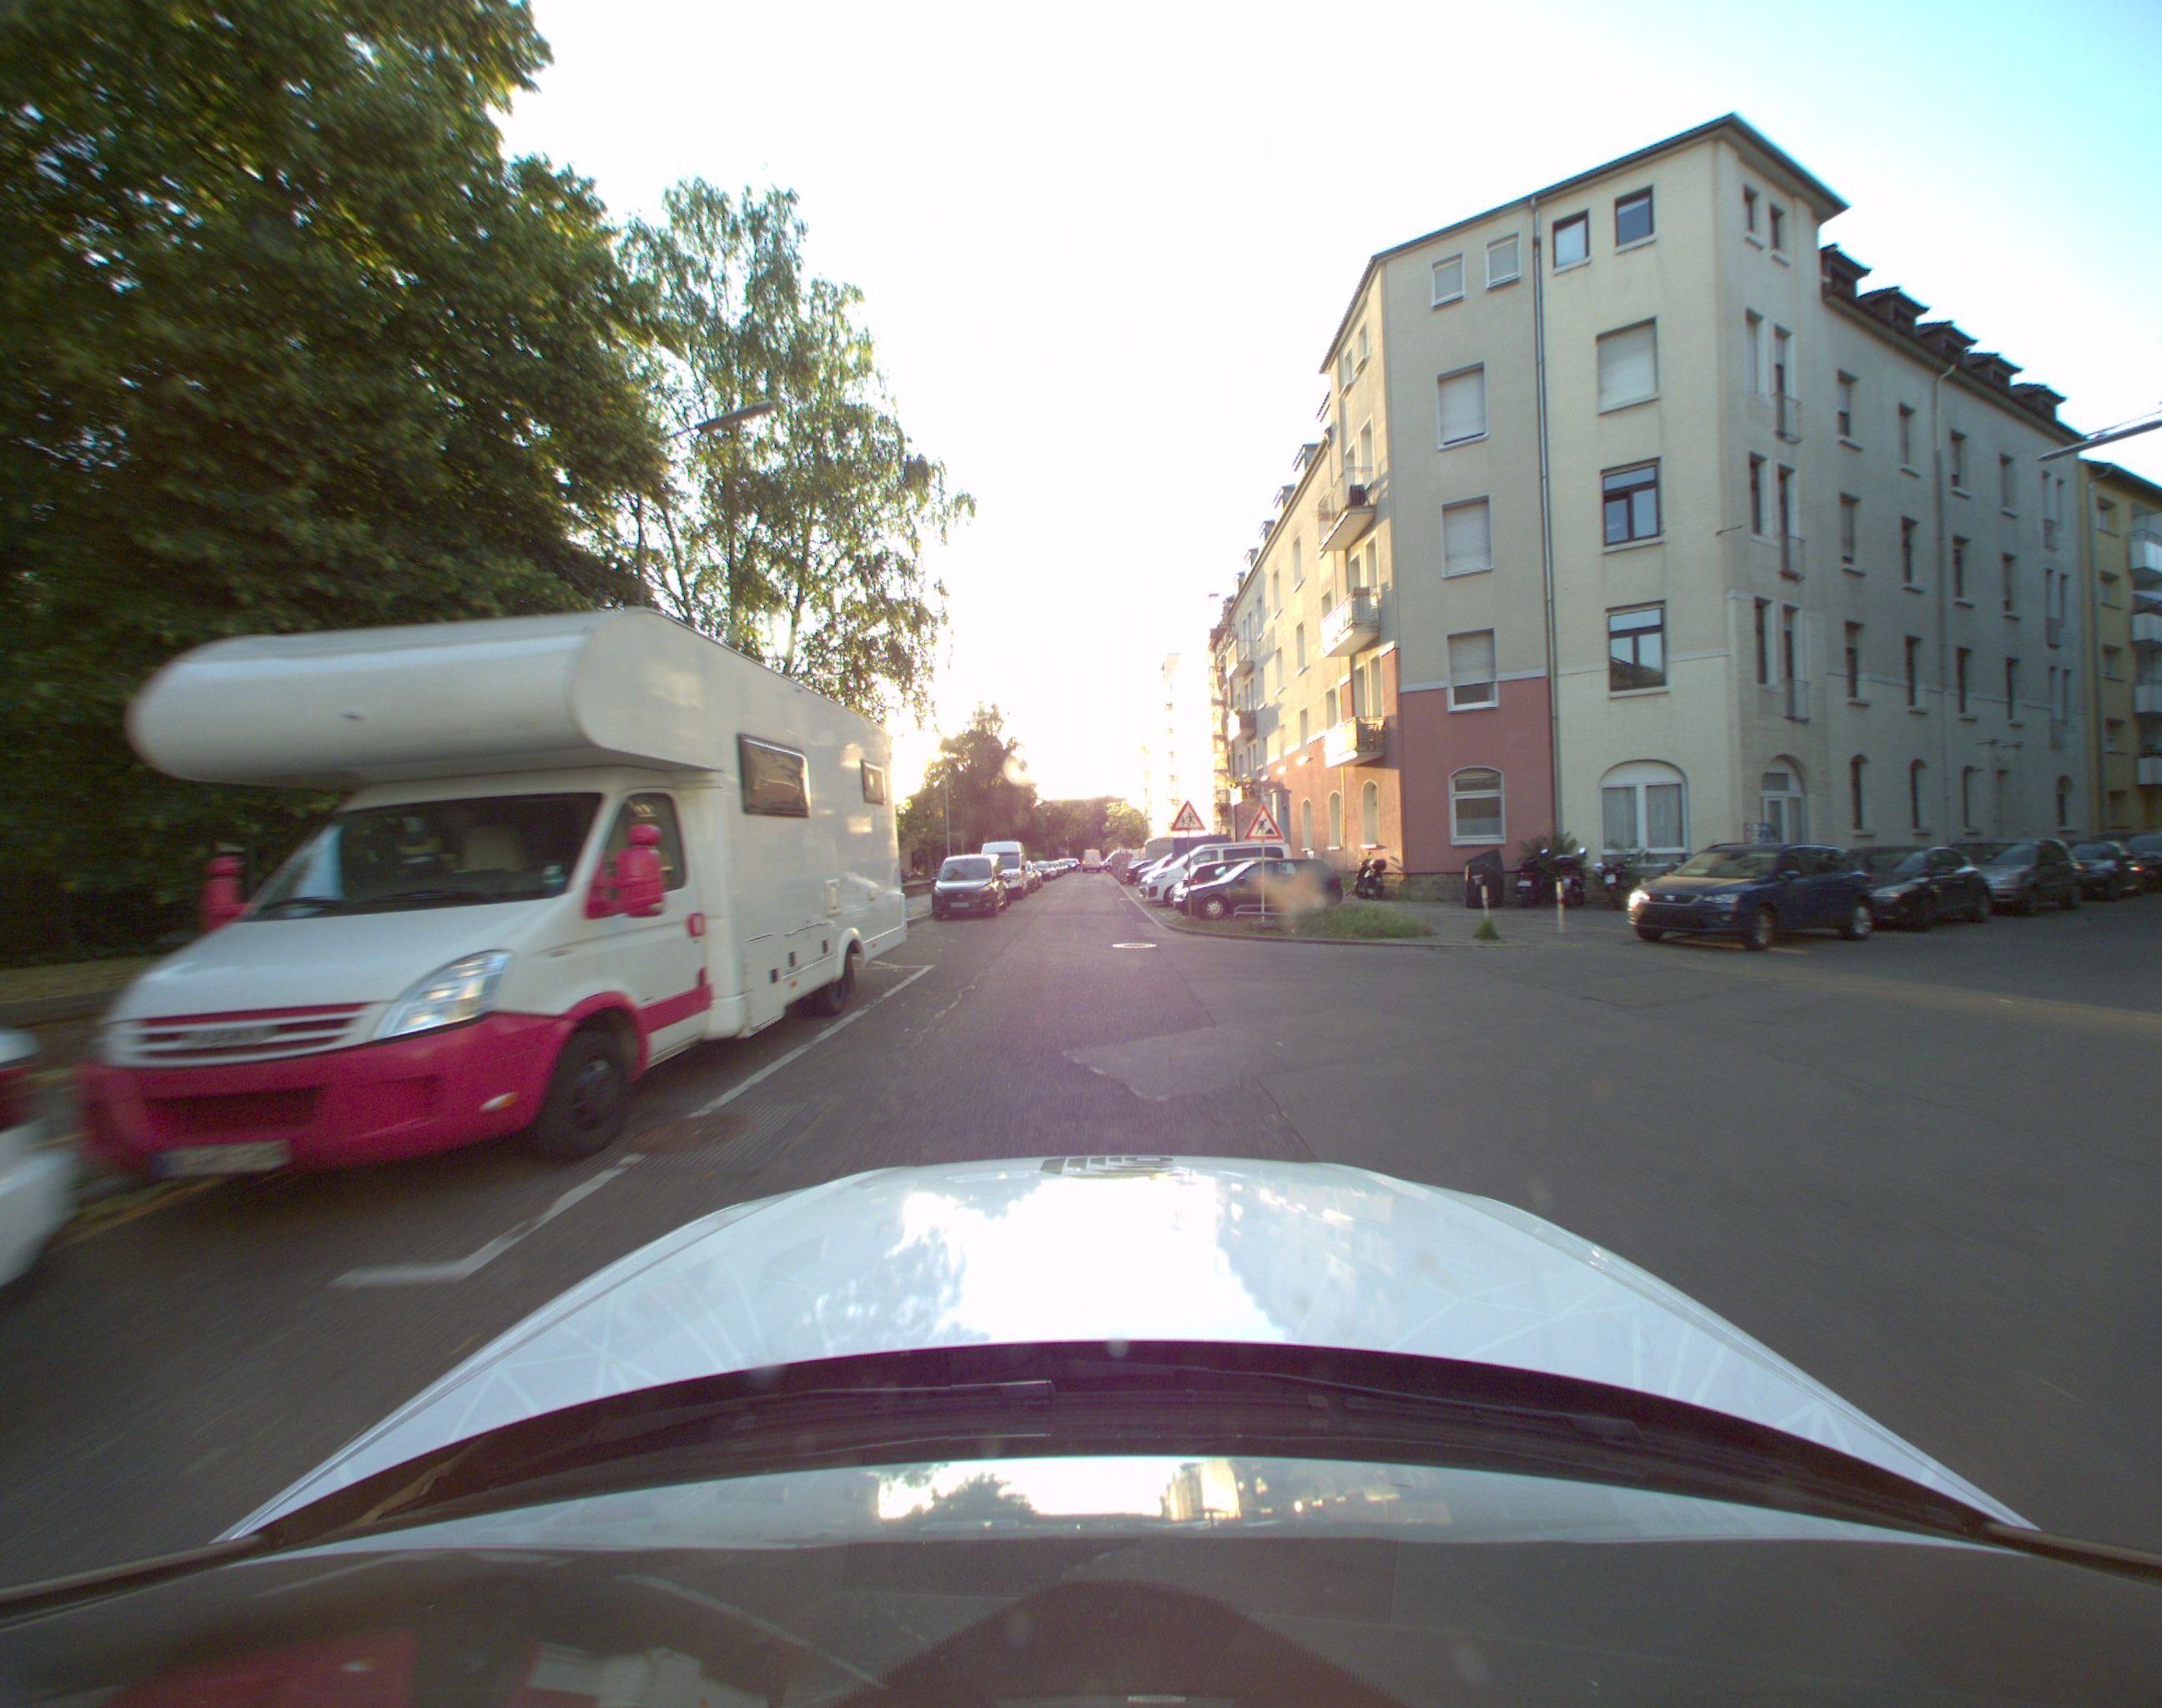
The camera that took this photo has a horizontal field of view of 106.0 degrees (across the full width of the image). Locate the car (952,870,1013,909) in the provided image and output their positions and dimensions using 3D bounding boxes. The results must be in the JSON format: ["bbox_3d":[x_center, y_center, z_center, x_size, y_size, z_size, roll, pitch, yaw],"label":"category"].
[{"bbox_3d":[-3.465,1.223,29.373,1.990,1.189,4.030,-1,0,-5],"label":"car"}]

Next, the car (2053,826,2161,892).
[{"bbox_3d":[28.379,0.093,21.914,4.009,1.651,1.982,-1,-1,-27],"label":"car"}]

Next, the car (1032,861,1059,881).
[{"bbox_3d":[-2.758,1.319,64.345,1.776,1.445,4.748,-4,0,0],"label":"car"}]

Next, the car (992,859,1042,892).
[{"bbox_3d":[-3.150,1.034,40.979,1.986,1.519,4.790,-1,0,1],"label":"car"}]

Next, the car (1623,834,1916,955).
[{"bbox_3d":[10.627,0.532,12.584,4.004,1.573,1.816,-1,0,-23],"label":"car"}]

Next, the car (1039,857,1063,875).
[{"bbox_3d":[-2.679,1.052,73.299,1.854,1.538,4.758,-3,0,0],"label":"car"}]

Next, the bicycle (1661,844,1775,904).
[{"bbox_3d":[14.198,0.453,18.223,1.881,1.281,0.689,-1,0,26],"label":"bicycle"}]

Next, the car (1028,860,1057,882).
[{"bbox_3d":[-2.758,1.199,59.078,1.988,1.453,3.996,-1,0,-2],"label":"car"}]

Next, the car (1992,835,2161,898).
[{"bbox_3d":[24.330,0.258,19.721,4.009,1.354,2.077,-1,0,-27],"label":"car"}]

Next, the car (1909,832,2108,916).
[{"bbox_3d":[19.209,0.353,16.851,4.012,1.505,1.954,-1,0,-30],"label":"car"}]

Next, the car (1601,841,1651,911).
[{"bbox_3d":[12.266,0.450,18.334,0.835,1.456,2.795,-2,0,34],"label":"car"}]

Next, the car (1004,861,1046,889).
[{"bbox_3d":[-3.167,1.154,46.728,1.986,1.453,4.289,-1,0,1],"label":"car"}]

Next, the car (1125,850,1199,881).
[{"bbox_3d":[4.633,0.653,47.222,4.137,1.615,1.872,-1,0,2],"label":"car"}]

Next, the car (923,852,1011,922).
[{"bbox_3d":[-3.289,0.886,24.422,1.904,1.788,4.948,-2,0,-1],"label":"car"}]

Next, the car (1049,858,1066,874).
[{"bbox_3d":[-2.446,1.218,84.345,1.596,1.431,3.802,-4,0,-1],"label":"car"}]

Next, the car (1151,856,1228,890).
[{"bbox_3d":[5.530,0.969,41.856,3.682,1.610,1.744,-1,0,-2],"label":"car"}]

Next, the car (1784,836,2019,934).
[{"bbox_3d":[14.825,0.476,14.698,4.011,1.505,1.952,-1,0,-29],"label":"car"}]

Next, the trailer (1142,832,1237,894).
[{"bbox_3d":[4.535,0.377,34.414,3.559,2.337,1.939,-4,0,-3],"label":"trailer"}]

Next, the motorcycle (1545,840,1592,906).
[{"bbox_3d":[11.422,0.408,19.031,0.735,1.434,2.670,-2,0,35],"label":"motorcycle"}]

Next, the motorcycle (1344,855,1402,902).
[{"bbox_3d":[8.320,0.662,23.351,0.739,1.235,2.653,-1,0,1],"label":"motorcycle"}]

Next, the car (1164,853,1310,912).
[{"bbox_3d":[4.640,0.828,24.648,3.976,1.618,1.999,-1,0,-2],"label":"car"}]

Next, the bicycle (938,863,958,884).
[{"bbox_3d":[-6.503,0.951,39.941,0.541,0.965,1.956,0,0,3],"label":"bicycle"}]

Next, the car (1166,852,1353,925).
[{"bbox_3d":[4.263,0.800,19.848,4.092,1.585,1.853,-1,0,-3],"label":"car"}]

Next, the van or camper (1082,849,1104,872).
[{"bbox_3d":[1.439,0.725,96.018,2.445,2.547,6.084,1,0,1],"label":"van or camper"}]

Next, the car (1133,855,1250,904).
[{"bbox_3d":[4.008,0.914,29.959,3.976,1.640,1.999,-1,-1,-2],"label":"car"}]

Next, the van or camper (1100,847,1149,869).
[{"bbox_3d":[5.368,0.497,101.207,5.910,2.770,2.109,0,-1,-1],"label":"van or camper"}]

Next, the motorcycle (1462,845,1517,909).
[{"bbox_3d":[9.849,0.521,19.599,0.828,1.434,2.368,-2,0,35],"label":"motorcycle"}]

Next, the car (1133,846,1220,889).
[{"bbox_3d":[5.156,0.690,44.090,4.262,1.979,1.817,-4,1,-7],"label":"car"}]

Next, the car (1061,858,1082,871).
[{"bbox_3d":[-1.138,1.307,100.694,1.794,1.569,4.575,-2,0,8],"label":"car"}]

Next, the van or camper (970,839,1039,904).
[{"bbox_3d":[-3.146,0.669,34.683,1.985,2.457,6.088,-1,0,3],"label":"van or camper"}]

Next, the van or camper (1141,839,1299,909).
[{"bbox_3d":[4.485,0.642,26.853,4.819,2.096,2.040,-1,0,-1],"label":"van or camper"}]

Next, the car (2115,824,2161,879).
[{"bbox_3d":[33.098,-0.119,24.337,4.009,1.585,1.982,-1,0,-27],"label":"car"}]

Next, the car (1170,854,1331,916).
[{"bbox_3d":[4.590,0.821,22.495,3.976,1.530,1.999,-1,0,-2],"label":"car"}]

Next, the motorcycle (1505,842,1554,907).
[{"bbox_3d":[10.592,0.443,19.188,0.735,1.434,2.368,-2,0,35],"label":"motorcycle"}]

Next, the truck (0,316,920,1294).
[{"bbox_3d":[-3.667,-0.131,6.886,2.516,3.353,8.021,-4,0,2],"label":"truck"}]
